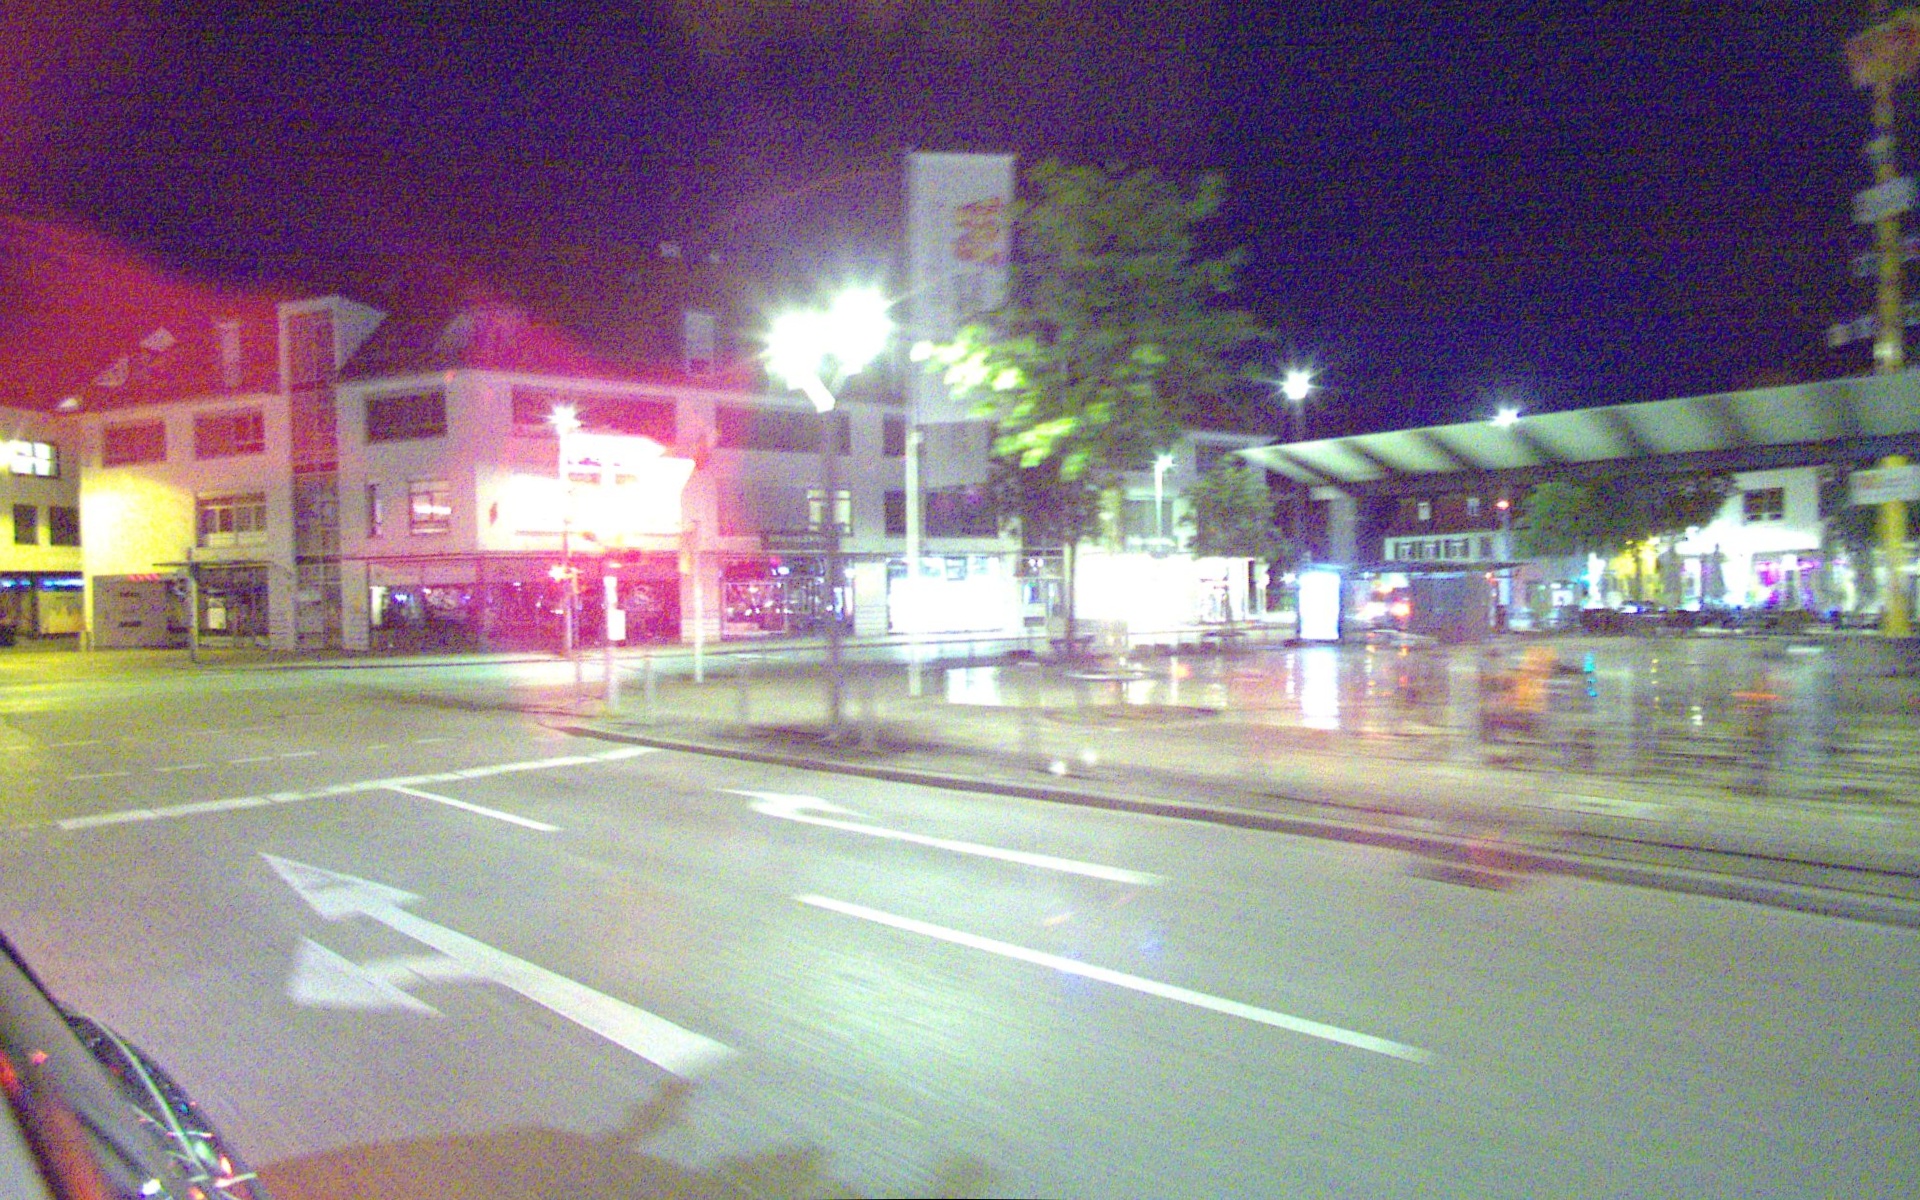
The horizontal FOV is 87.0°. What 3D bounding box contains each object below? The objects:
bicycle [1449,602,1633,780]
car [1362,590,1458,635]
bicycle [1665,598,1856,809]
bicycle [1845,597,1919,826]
[{"bbox_3d":[4.676,0.650,8.085,1.813,1.166,0.788,-4,2,-44],"label":"bicycle"},{"bbox_3d":[20.674,0.572,46.466,4.344,1.951,1.965,0,-2,-34],"label":"car"},{"bbox_3d":[5.474,0.618,6.882,1.715,1.166,0.788,-4,2,-44],"label":"bicycle"},{"bbox_3d":[5.944,0.609,6.069,1.715,1.175,0.788,-4,1,-44],"label":"bicycle"}]
